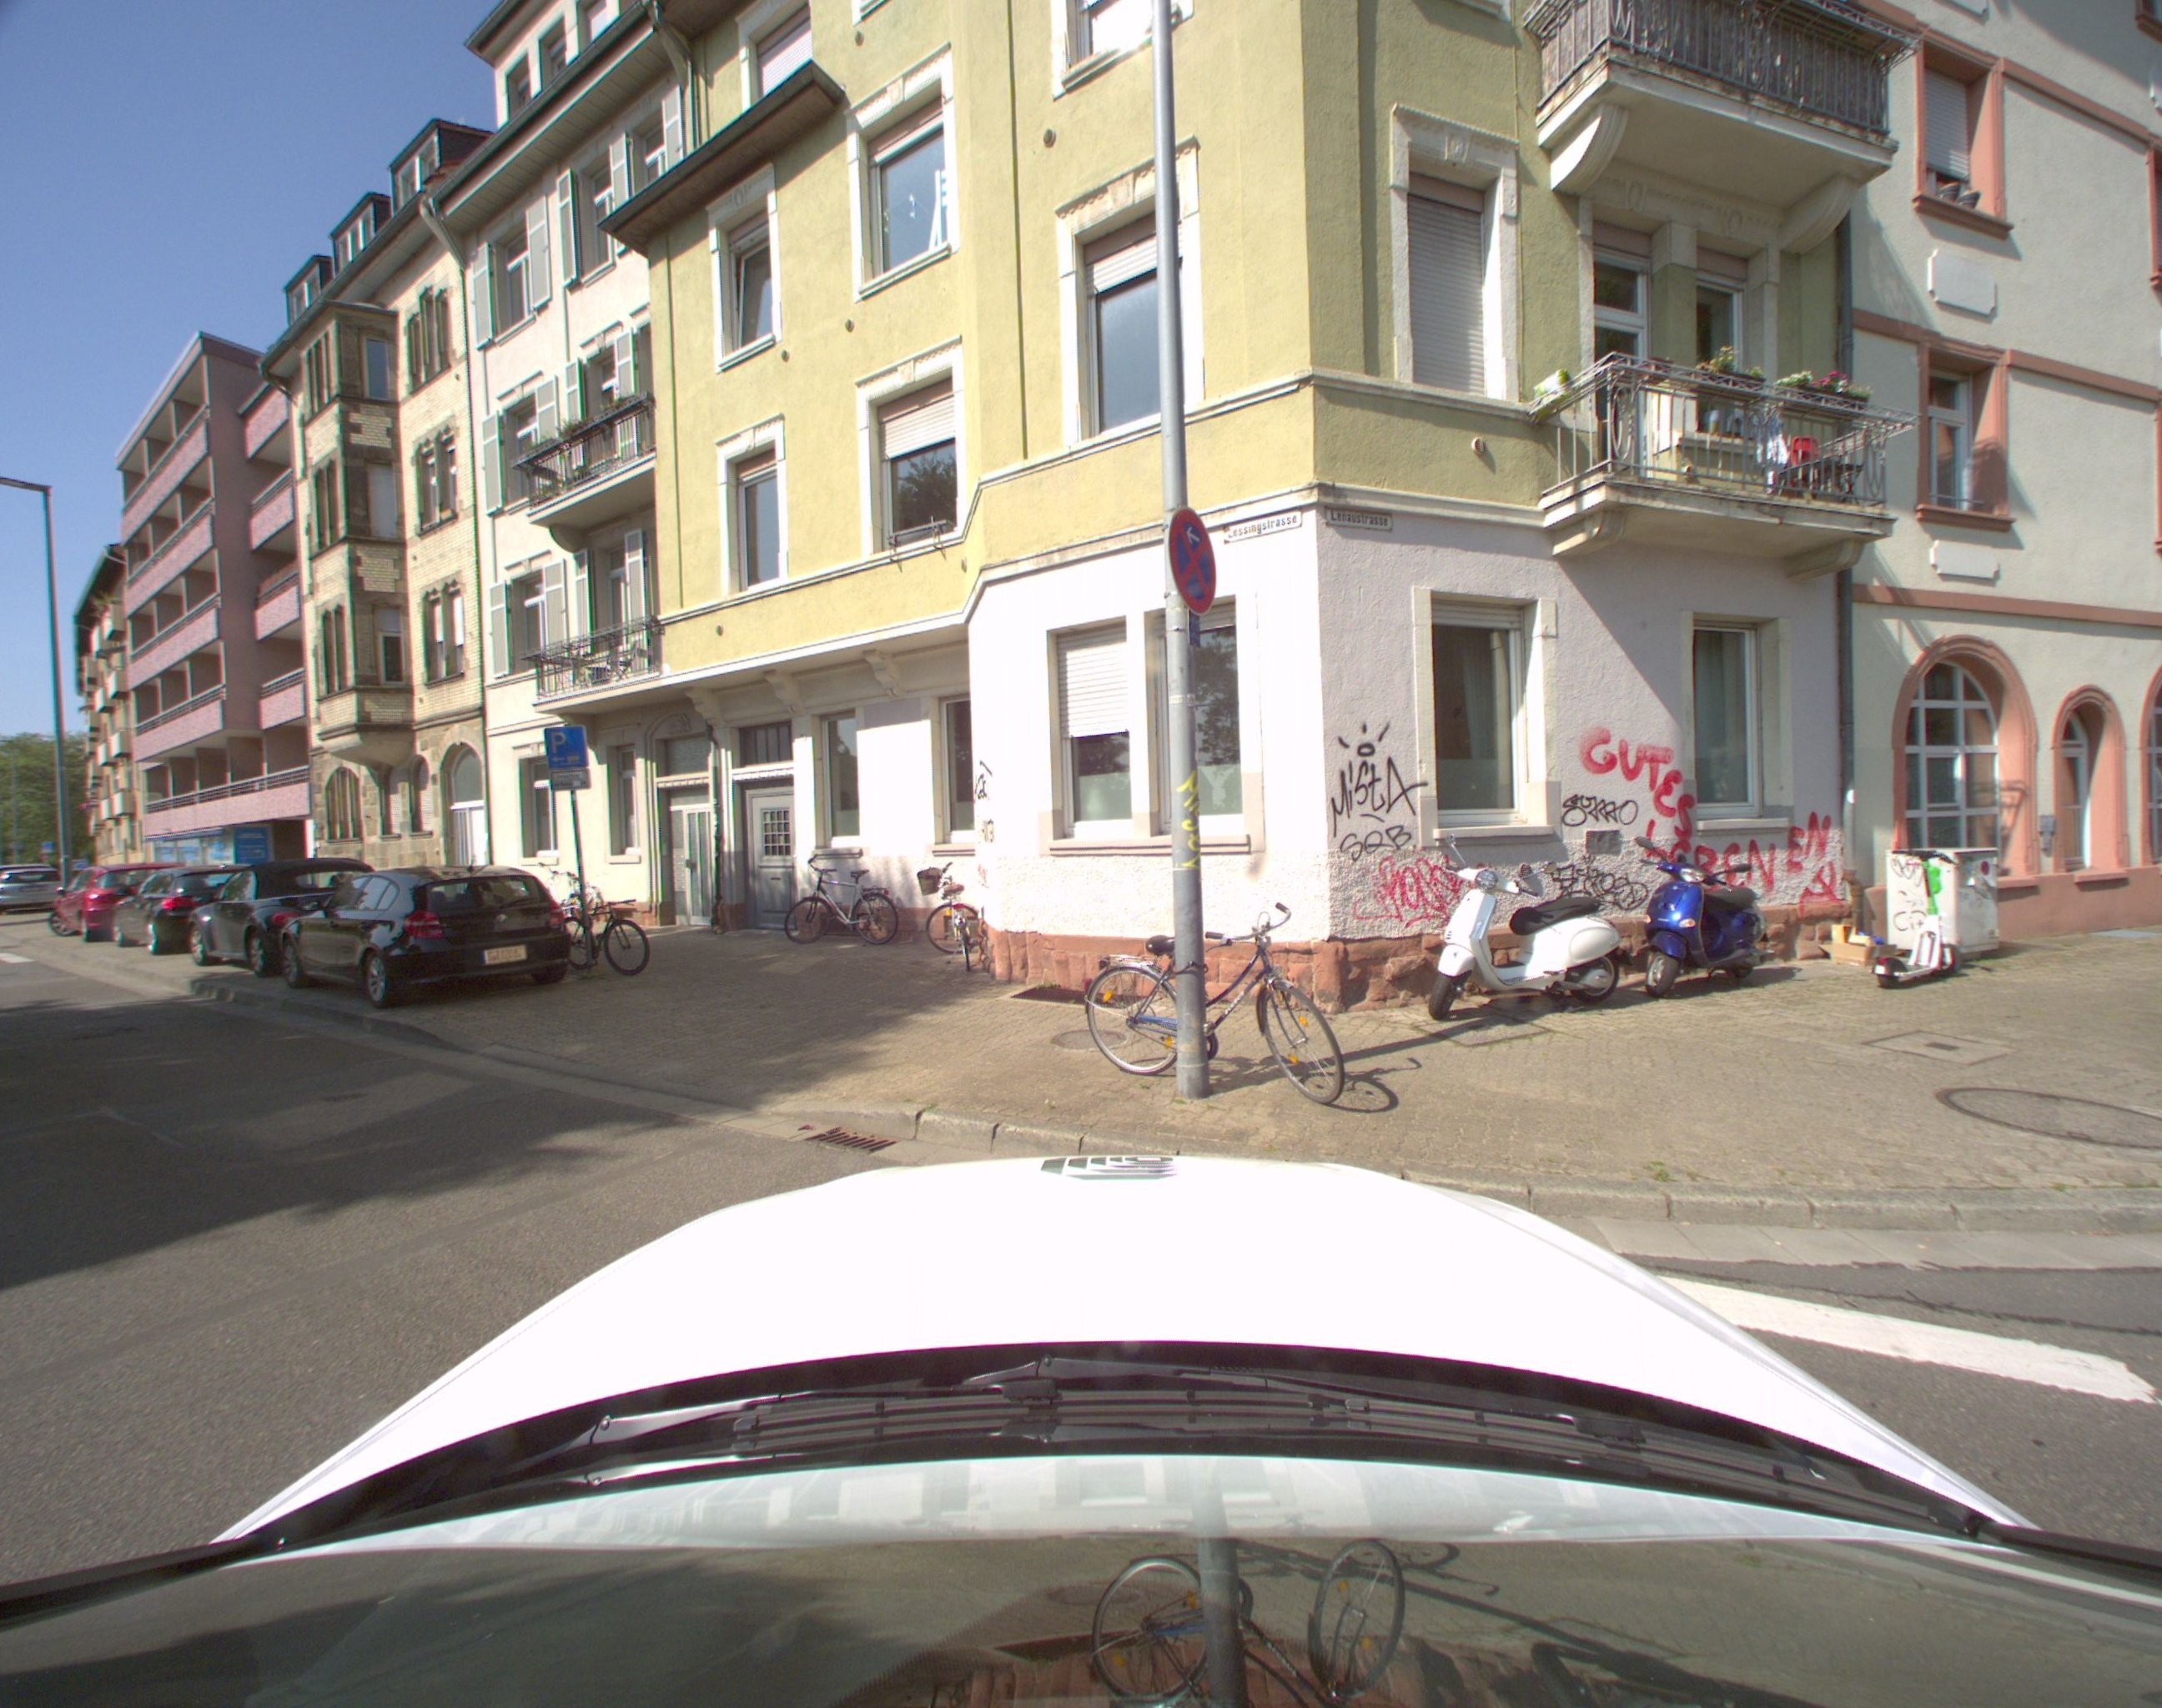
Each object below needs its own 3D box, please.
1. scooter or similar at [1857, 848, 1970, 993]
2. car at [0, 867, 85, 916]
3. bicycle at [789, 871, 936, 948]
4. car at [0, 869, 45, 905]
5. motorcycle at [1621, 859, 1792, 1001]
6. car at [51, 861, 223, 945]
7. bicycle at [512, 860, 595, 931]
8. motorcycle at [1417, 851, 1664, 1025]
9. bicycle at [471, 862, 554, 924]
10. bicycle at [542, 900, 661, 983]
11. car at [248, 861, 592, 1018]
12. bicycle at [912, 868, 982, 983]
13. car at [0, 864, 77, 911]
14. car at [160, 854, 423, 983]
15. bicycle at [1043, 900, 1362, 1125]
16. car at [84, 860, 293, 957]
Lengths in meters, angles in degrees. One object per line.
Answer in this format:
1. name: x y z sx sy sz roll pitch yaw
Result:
1. scooter or similar: 7.246 0.538 7.075 1.451 1.127 0.272 -3 2 -28
2. car: -34.951 1.211 27.314 3.386 1.408 1.695 -1 3 37
3. bicycle: -3.061 0.743 11.340 2.087 0.945 0.613 -1 3 30
4. car: -46.907 1.435 35.623 4.074 1.506 1.773 -1 0 36
5. motorcycle: 5.406 0.620 7.036 1.449 1.094 0.426 -2 2 -18
6. car: -20.060 0.974 17.274 3.948 1.482 1.803 -1 3 33
7. bicycle: -9.872 0.752 15.232 1.606 1.180 0.571 2 5 29
8. motorcycle: 3.543 0.611 6.290 1.759 1.150 0.472 -3 3 -11
9. bicycle: -11.345 0.756 16.247 1.606 1.146 0.661 -1 3 29
10. bicycle: -5.847 1.038 9.906 1.561 0.891 0.452 -1 2 28
11. car: -7.734 0.849 9.457 4.028 1.416 1.757 -1 1 31
12. bicycle: -1.550 0.746 9.237 0.538 1.046 1.818 -3 3 -16
13. car: -38.665 1.186 30.040 4.297 1.541 1.753 -1 2 36
14. car: -11.479 0.837 11.799 3.958 1.501 1.658 -1 2 31
15. bicycle: 0.687 0.841 4.771 1.712 1.087 0.582 -1 1 27
16. car: -15.919 0.901 14.486 4.073 1.452 1.658 -1 1 31
